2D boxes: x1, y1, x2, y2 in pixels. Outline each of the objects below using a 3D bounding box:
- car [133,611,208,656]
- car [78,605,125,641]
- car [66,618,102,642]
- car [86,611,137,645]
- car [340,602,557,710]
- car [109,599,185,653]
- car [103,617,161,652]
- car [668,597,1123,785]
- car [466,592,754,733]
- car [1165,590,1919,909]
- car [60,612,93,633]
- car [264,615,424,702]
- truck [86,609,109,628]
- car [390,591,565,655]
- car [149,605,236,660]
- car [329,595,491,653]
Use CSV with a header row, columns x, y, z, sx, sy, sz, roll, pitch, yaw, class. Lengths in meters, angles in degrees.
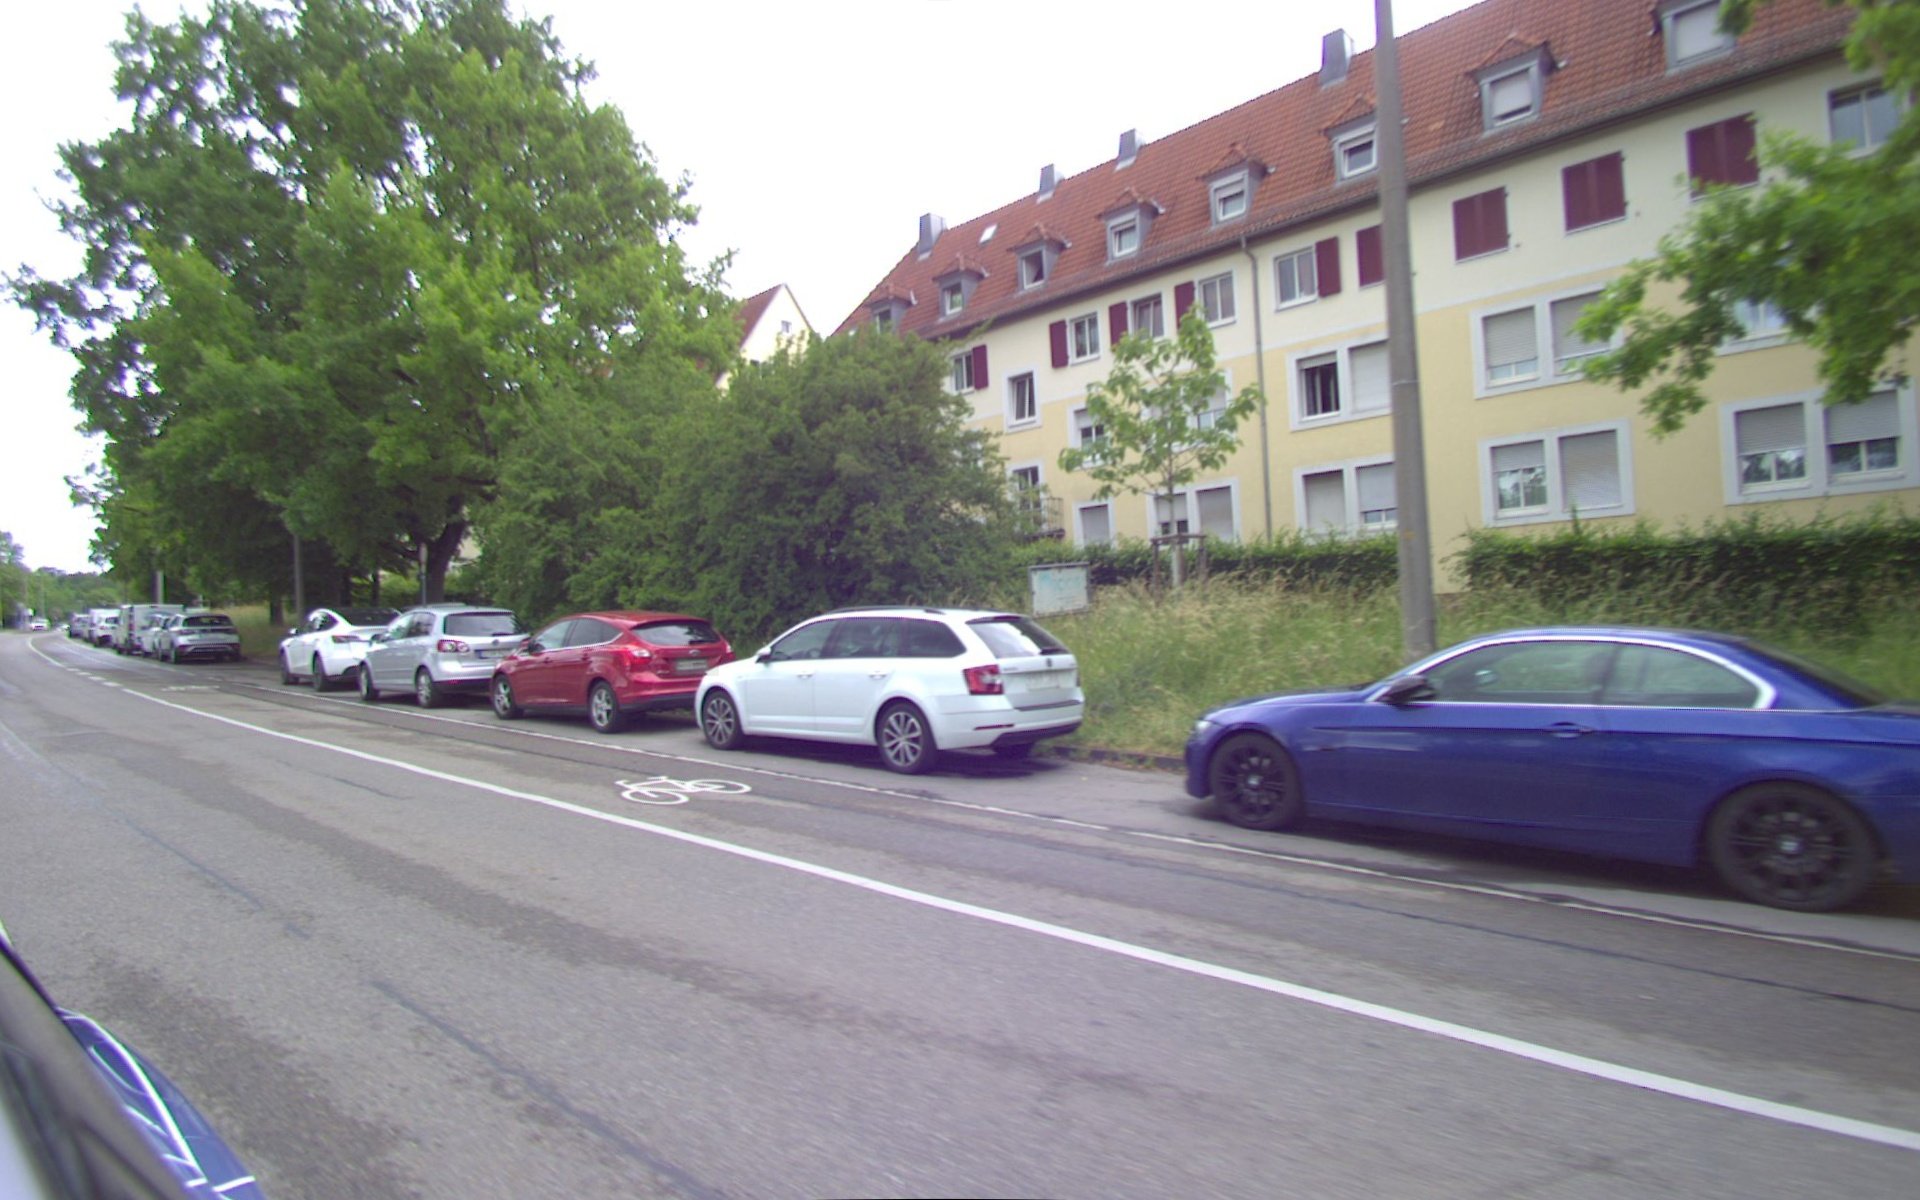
x,y,z,sx,sy,sz,roll,pitch,yaw,class
-28.148,1.174,36.053,3.720,1.493,1.564,-1,-1,44,car
-49.809,1.325,58.674,1.747,1.945,5.159,-2,0,-44,car
-61.967,2.150,71.590,1.747,1.604,4.138,-1,-1,-43,car
-42.165,1.382,50.261,1.654,1.576,4.284,0,-1,-44,car
-8.766,0.859,17.209,4.117,1.585,1.849,-1,0,41,car
-32.188,1.010,40.021,1.845,1.978,5.130,-1,-1,-45,car
-38.128,1.547,46.566,4.092,1.490,1.643,-1,0,44,car
-0.856,0.748,10.246,4.754,1.470,1.698,-1,0,41,car
-4.829,0.736,13.655,4.368,1.585,1.698,-1,0,41,car
3.594,0.679,6.130,4.335,1.400,1.698,-1,0,41,car
-65.725,1.694,75.292,1.746,1.458,4.156,-1,-1,-40,car
-12.851,1.119,20.972,4.762,1.585,1.747,-1,-1,45,car
-166.628,3.579,195.576,2.788,3.507,7.840,-1,-1,-37,truck
-14.688,0.660,30.951,4.380,1.465,1.889,-7,4,-43,car
-24.786,1.024,32.634,1.746,1.646,4.161,-1,-1,-44,car
-18.548,0.777,34.291,1.868,1.461,4.388,-1,4,41,car
